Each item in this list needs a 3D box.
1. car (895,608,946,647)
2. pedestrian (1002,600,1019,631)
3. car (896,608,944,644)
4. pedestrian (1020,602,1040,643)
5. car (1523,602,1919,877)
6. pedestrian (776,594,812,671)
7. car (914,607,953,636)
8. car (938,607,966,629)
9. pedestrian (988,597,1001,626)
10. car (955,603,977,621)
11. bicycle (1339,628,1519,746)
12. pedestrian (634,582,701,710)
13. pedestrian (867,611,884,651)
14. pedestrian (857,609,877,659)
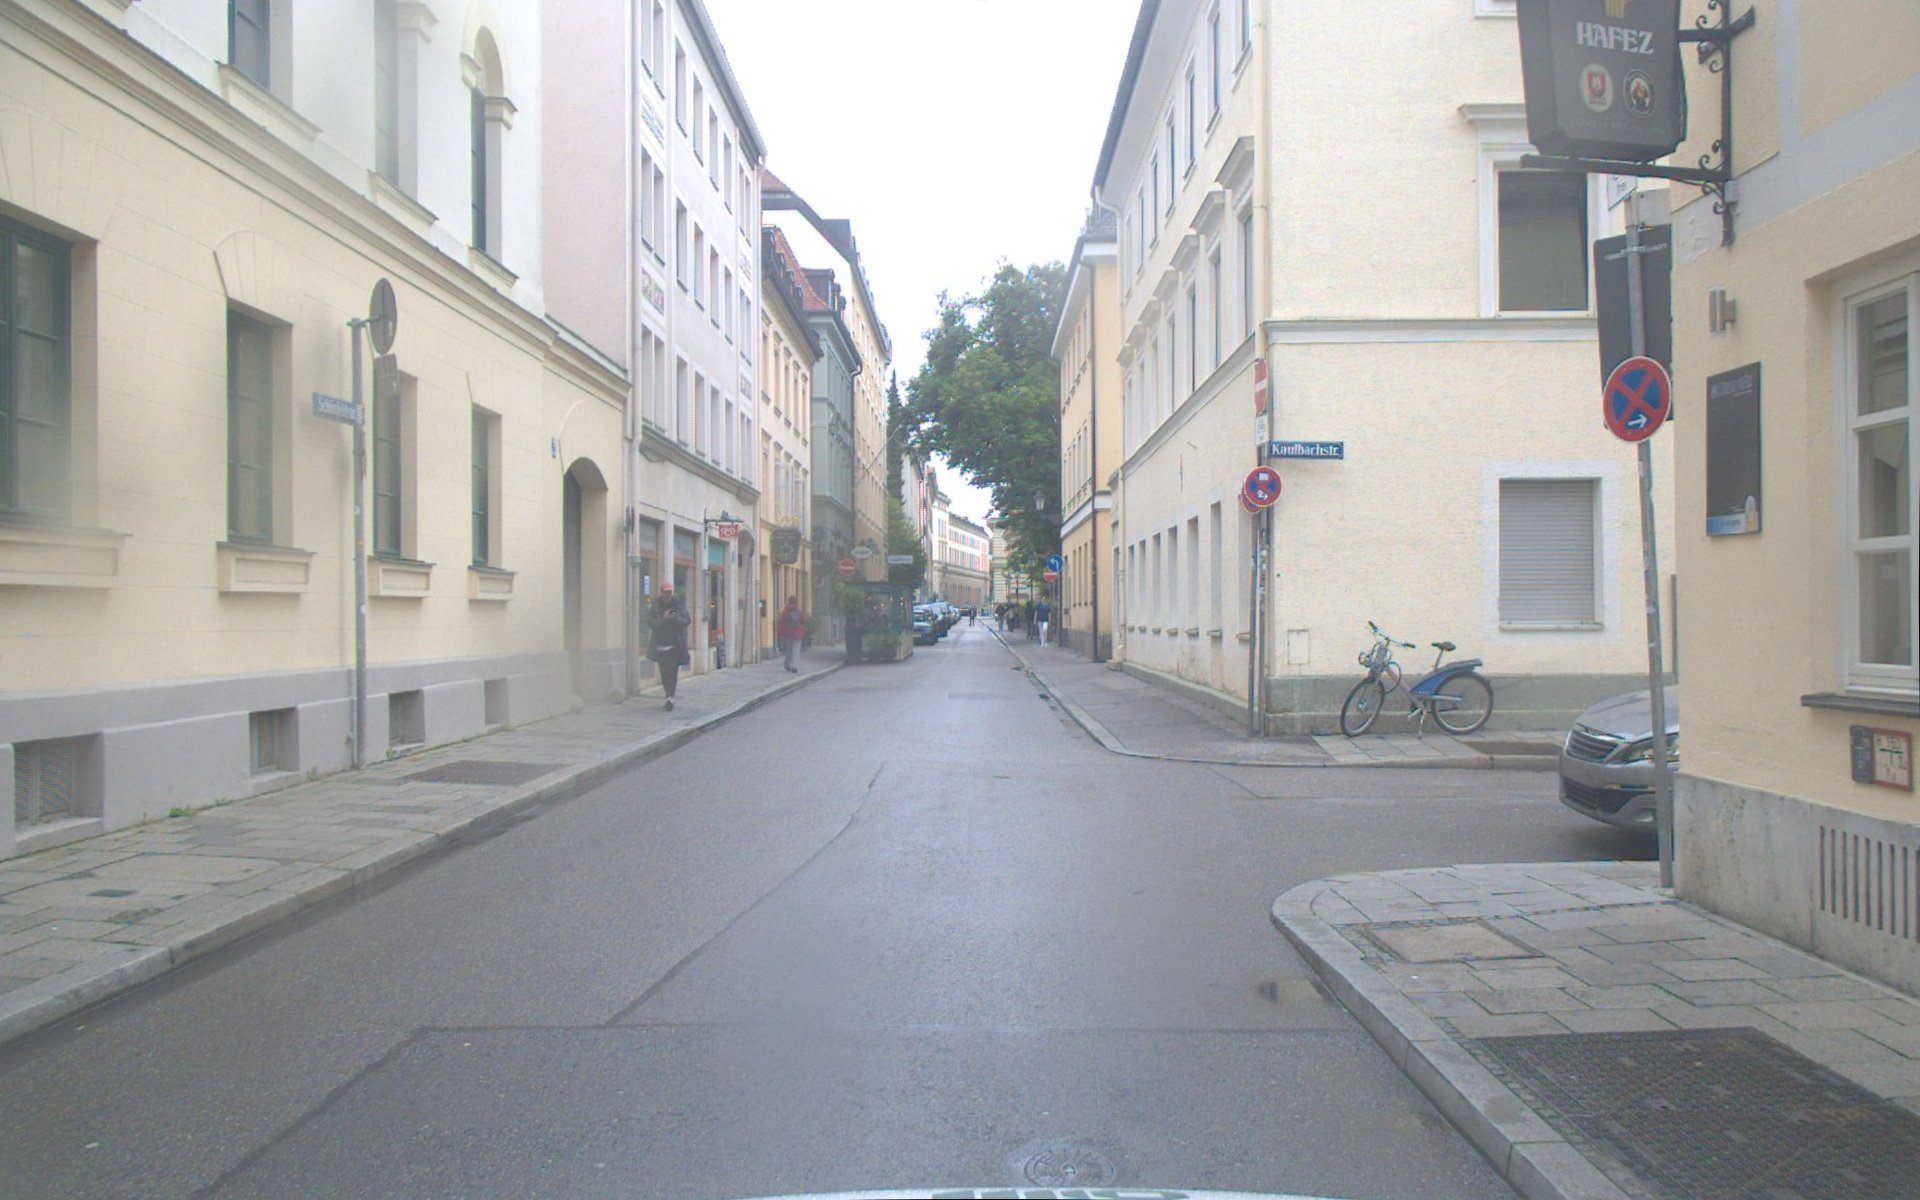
[{"bbox_3d":[-1.576,1.104,67.278,1.742,1.492,3.664,1,0,3],"label":"car"},{"bbox_3d":[2.980,0.905,97.757,0.994,1.834,1.349,1,0,1],"label":"pedestrian"},{"bbox_3d":[-1.714,1.112,71.882,1.742,1.492,3.543,1,0,3],"label":"car"},{"bbox_3d":[3.150,0.994,74.370,0.862,1.834,1.046,1,0,1],"label":"pedestrian"},{"bbox_3d":[5.715,0.800,10.142,3.931,1.466,1.765,1,2,2],"label":"car"},{"bbox_3d":[-3.763,0.731,37.443,0.750,1.738,0.785,0,0,-2],"label":"pedestrian"},{"bbox_3d":[-1.373,1.110,86.838,1.742,1.492,3.543,1,0,3],"label":"car"},{"bbox_3d":[-0.544,1.248,116.563,1.742,1.492,3.543,1,0,3],"label":"car"},{"bbox_3d":[2.195,0.706,104.900,0.777,1.834,0.903,1,-1,1],"label":"pedestrian"},{"bbox_3d":[0.516,1.042,145.831,1.742,1.492,3.543,1,0,3],"label":"car"},{"bbox_3d":[4.888,0.897,17.296,1.721,1.164,0.586,-1,2,0],"label":"bicycle"},{"bbox_3d":[-4.197,0.641,23.784,0.793,1.786,0.989,1,1,-2],"label":"pedestrian"},{"bbox_3d":[-2.707,0.987,53.111,0.499,1.259,0.630,1,-1,-1],"label":"pedestrian"},{"bbox_3d":[-2.567,0.938,45.699,0.499,1.350,0.630,1,-1,-1],"label":"pedestrian"}]
